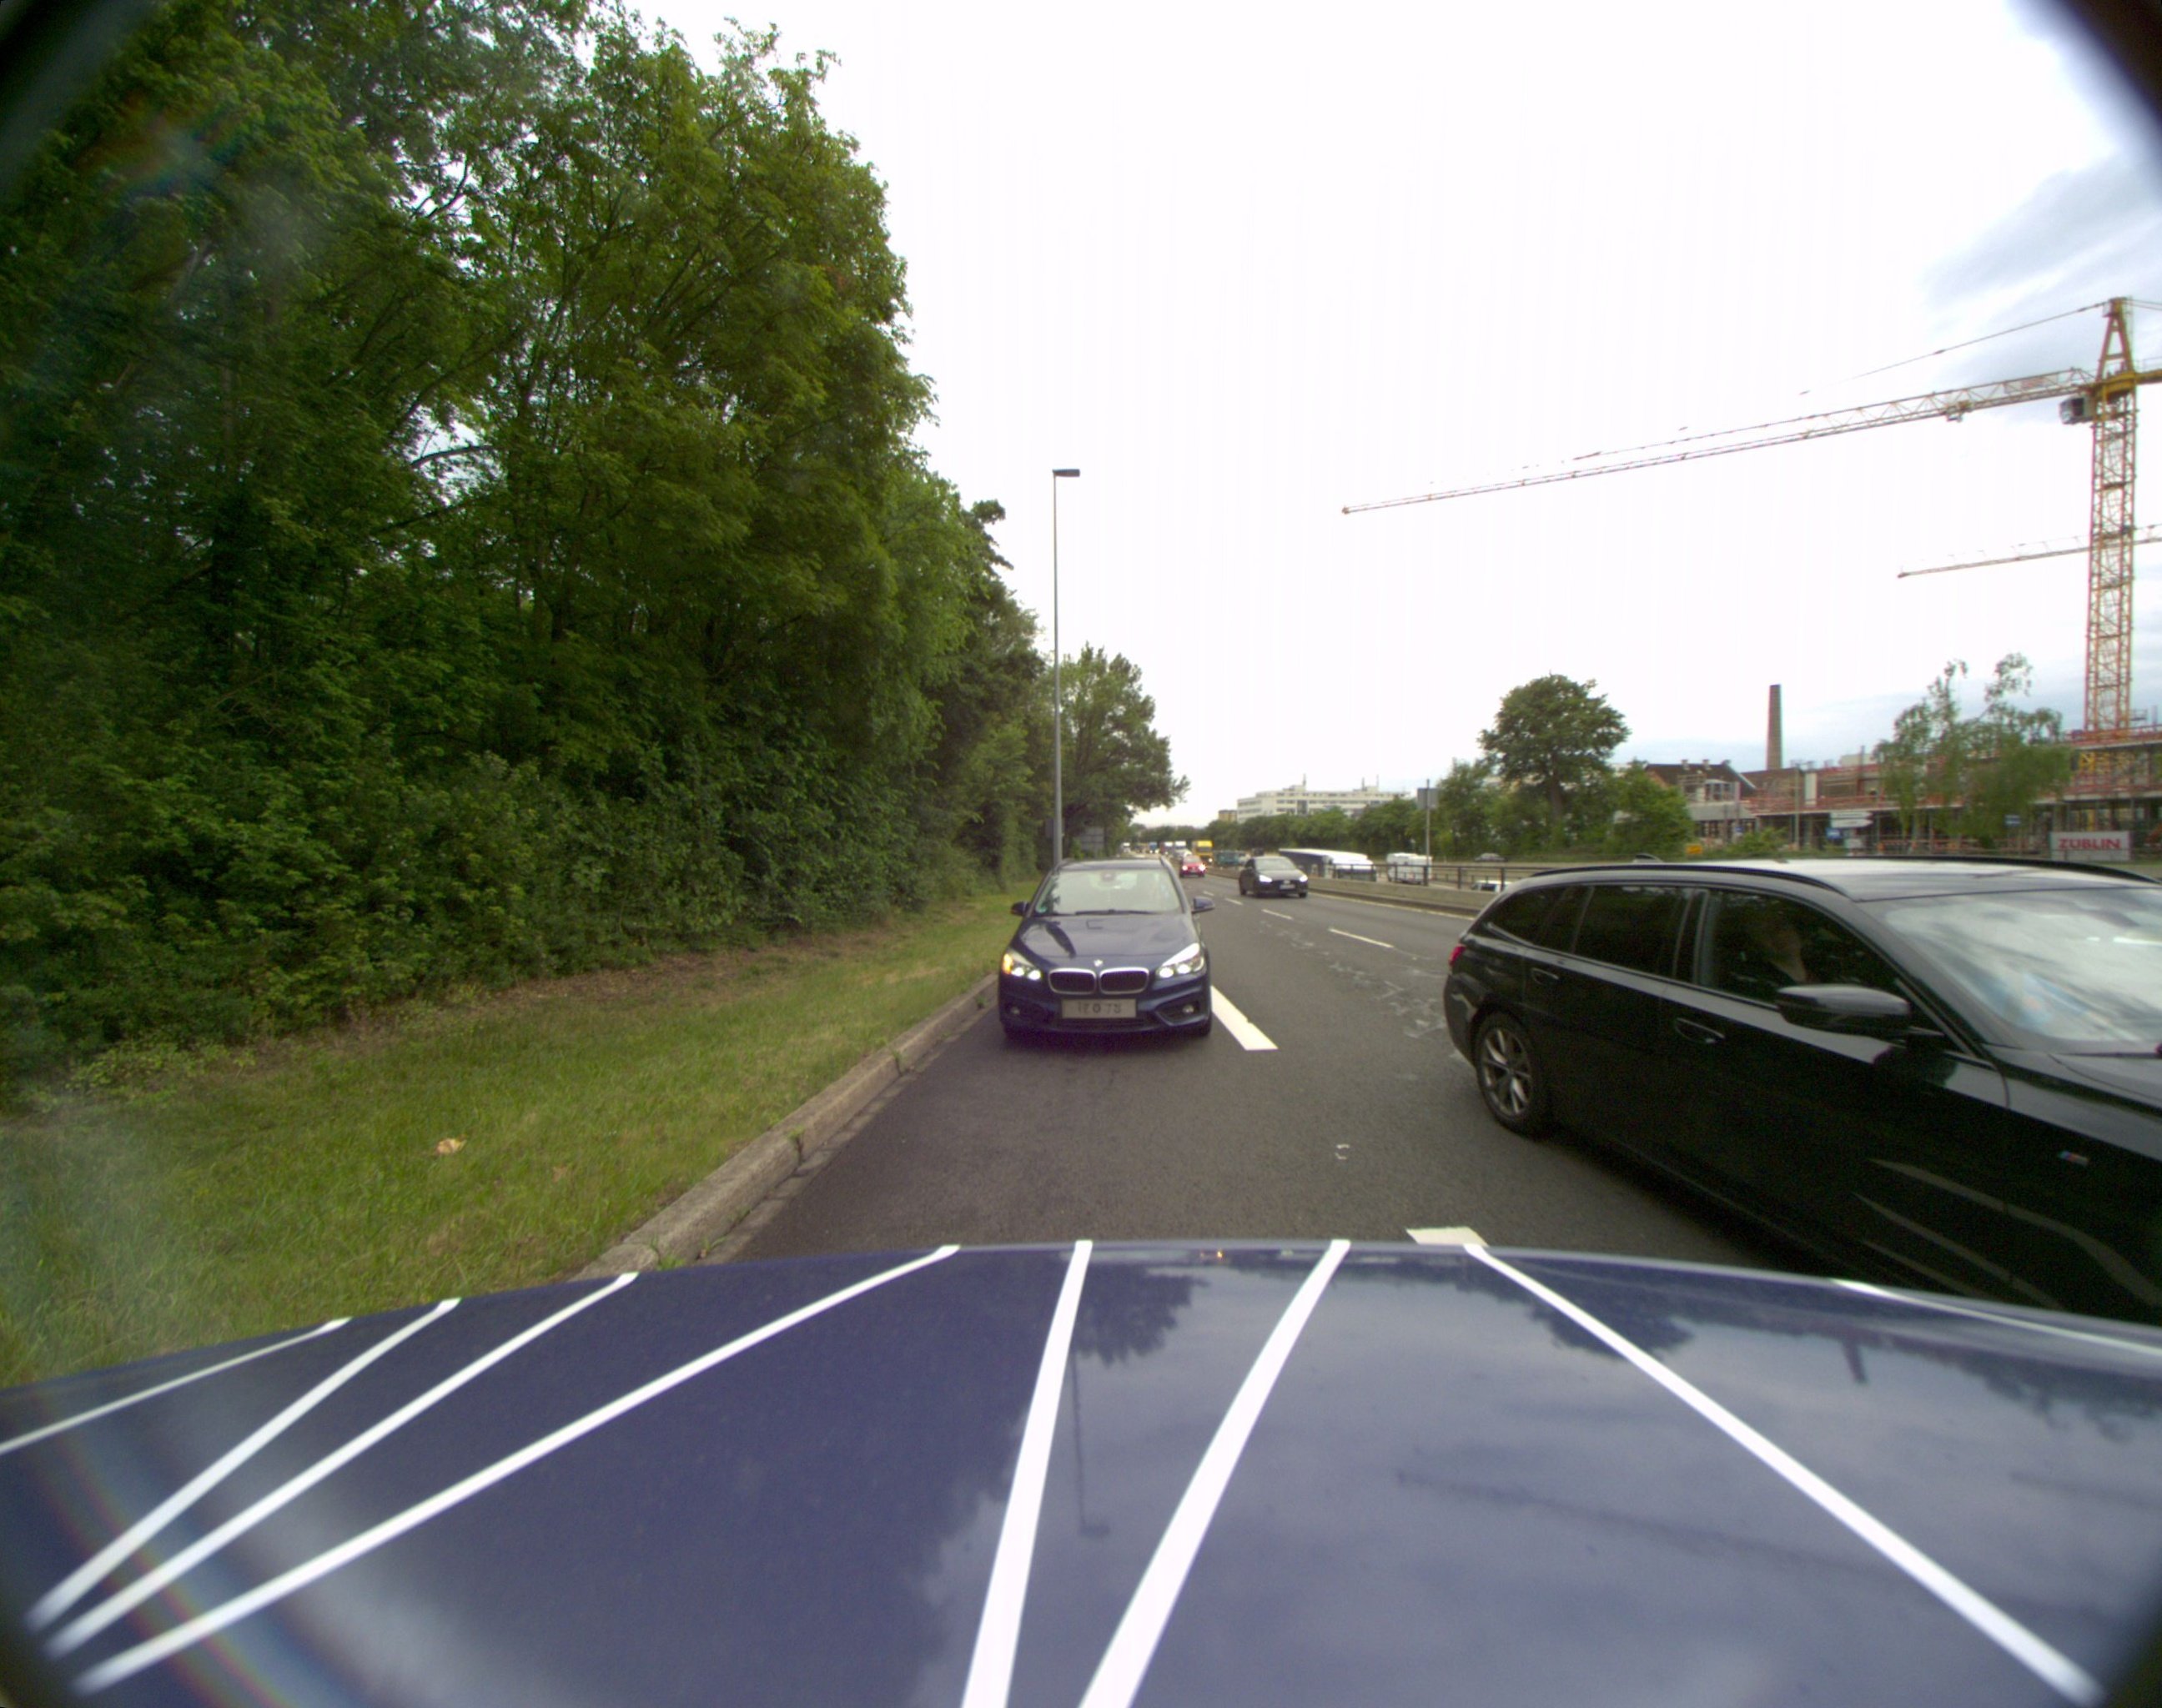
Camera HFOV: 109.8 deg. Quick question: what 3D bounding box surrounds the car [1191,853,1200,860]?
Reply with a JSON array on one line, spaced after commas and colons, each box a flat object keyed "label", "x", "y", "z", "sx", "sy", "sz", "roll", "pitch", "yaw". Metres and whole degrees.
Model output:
[{"label": "car", "x": 23.666, "y": 0.547, "z": 157.256, "sx": 1.627, "sy": 1.433, "sz": 4.001, "roll": -2, "pitch": 1, "yaw": 4}]

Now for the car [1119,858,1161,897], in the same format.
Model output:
[{"label": "car", "x": 2.503, "y": 0.949, "z": 32.293, "sx": 1.627, "sy": 1.433, "sz": 4.001, "roll": -2, "pitch": 1, "yaw": 4}]

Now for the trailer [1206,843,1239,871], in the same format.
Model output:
[{"label": "trailer", "x": 19.576, "y": 0.291, "z": 106.025, "sx": 2.613, "sy": 3.620, "sz": 16.752, "roll": 0, "pitch": 1, "yaw": 4}]

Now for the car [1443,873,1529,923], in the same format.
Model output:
[{"label": "car", "x": 27.531, "y": 2.882, "z": 52.012, "sx": 2.515, "sy": 3.011, "sz": 6.422, "roll": -1, "pitch": 0, "yaw": 1}]

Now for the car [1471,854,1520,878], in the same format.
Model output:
[{"label": "car", "x": 43.864, "y": 1.228, "z": 80.493, "sx": 2.341, "sy": 2.446, "sz": 5.227, "roll": -1, "pitch": 0, "yaw": 1}]

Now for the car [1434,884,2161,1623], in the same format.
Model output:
[{"label": "car", "x": 3.109, "y": 0.888, "z": 2.539, "sx": 1.753, "sy": 1.418, "sz": 4.461, "roll": -1, "pitch": -1, "yaw": 0}]

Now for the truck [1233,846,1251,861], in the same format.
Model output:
[{"label": "truck", "x": 43.546, "y": -0.228, "z": 205.992, "sx": 2.956, "sy": 4.013, "sz": 13.781, "roll": 0, "pitch": 1, "yaw": 4}]

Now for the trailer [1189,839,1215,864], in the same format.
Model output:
[{"label": "trailer", "x": 21.902, "y": -0.547, "z": 138.933, "sx": 2.897, "sy": 4.328, "sz": 19.925, "roll": 0, "pitch": 1, "yaw": 4}]

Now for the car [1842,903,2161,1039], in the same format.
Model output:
[{"label": "car", "x": 27.148, "y": 3.207, "z": 22.646, "sx": 2.515, "sy": 3.011, "sz": 6.422, "roll": -1, "pitch": 0, "yaw": 1}]

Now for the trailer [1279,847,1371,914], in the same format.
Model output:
[{"label": "trailer", "x": 16.831, "y": 1.552, "z": 53.780, "sx": 2.530, "sy": 4.013, "sz": 14.785, "roll": 0, "pitch": 1, "yaw": 3}]

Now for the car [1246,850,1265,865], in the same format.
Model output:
[{"label": "car", "x": 34.882, "y": 0.669, "z": 151.901, "sx": 2.514, "sy": 3.011, "sz": 7.514, "roll": -1, "pitch": 0, "yaw": 4}]

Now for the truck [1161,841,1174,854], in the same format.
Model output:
[{"label": "truck", "x": 27.586, "y": -1.969, "z": 242.898, "sx": 2.531, "sy": 4.013, "sz": 13.777, "roll": 0, "pitch": 1, "yaw": 1}]

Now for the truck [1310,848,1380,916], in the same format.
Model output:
[{"label": "truck", "x": 16.556, "y": 1.642, "z": 48.053, "sx": 2.530, "sy": 4.013, "sz": 6.097, "roll": 0, "pitch": 1, "yaw": 3}]

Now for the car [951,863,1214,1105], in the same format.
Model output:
[{"label": "car", "x": 0.219, "y": 0.948, "z": 7.488, "sx": 1.783, "sy": 1.554, "sz": 4.423, "roll": -2, "pitch": 1, "yaw": 6}]

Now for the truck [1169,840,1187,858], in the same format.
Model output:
[{"label": "truck", "x": 16.866, "y": -0.884, "z": 132.469, "sx": 2.524, "sy": 2.961, "sz": 13.781, "roll": 0, "pitch": 1, "yaw": 4}]

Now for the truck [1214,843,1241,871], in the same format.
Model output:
[{"label": "truck", "x": 19.052, "y": 0.349, "z": 98.909, "sx": 2.644, "sy": 3.614, "sz": 6.669, "roll": 0, "pitch": 1, "yaw": 4}]

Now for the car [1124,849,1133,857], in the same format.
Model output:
[{"label": "car", "x": 12.353, "y": -0.221, "z": 198.460, "sx": 1.998, "sy": 2.002, "sz": 4.000, "roll": -1, "pitch": 0, "yaw": 1}]

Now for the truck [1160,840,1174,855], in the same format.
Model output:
[{"label": "truck", "x": 19.388, "y": -1.448, "z": 171.464, "sx": 2.955, "sy": 3.167, "sz": 13.783, "roll": 0, "pitch": 1, "yaw": 6}]

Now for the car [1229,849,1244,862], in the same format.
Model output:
[{"label": "car", "x": 38.283, "y": 0.302, "z": 186.999, "sx": 2.514, "sy": 3.011, "sz": 7.514, "roll": -1, "pitch": 0, "yaw": 4}]

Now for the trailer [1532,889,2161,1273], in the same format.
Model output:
[{"label": "trailer", "x": 14.911, "y": 3.162, "z": 15.690, "sx": 2.658, "sy": 4.013, "sz": 14.553, "roll": 0, "pitch": 1, "yaw": 1}]

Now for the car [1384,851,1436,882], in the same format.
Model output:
[{"label": "car", "x": 33.857, "y": 1.250, "z": 78.579, "sx": 2.514, "sy": 3.011, "sz": 7.514, "roll": -1, "pitch": 0, "yaw": 4}]

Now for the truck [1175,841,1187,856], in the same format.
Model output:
[{"label": "truck", "x": 26.304, "y": -1.504, "z": 200.353, "sx": 2.955, "sy": 4.013, "sz": 13.783, "roll": 0, "pitch": 1, "yaw": 6}]

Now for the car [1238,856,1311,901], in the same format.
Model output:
[{"label": "car", "x": 6.955, "y": 0.827, "z": 27.712, "sx": 1.702, "sy": 1.433, "sz": 4.000, "roll": -2, "pitch": 1, "yaw": 2}]

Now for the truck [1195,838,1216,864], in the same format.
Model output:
[{"label": "truck", "x": 21.282, "y": -0.470, "z": 130.201, "sx": 2.892, "sy": 4.319, "sz": 6.520, "roll": 0, "pitch": 1, "yaw": 4}]

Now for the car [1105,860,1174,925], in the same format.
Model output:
[{"label": "car", "x": 1.552, "y": 0.943, "z": 20.326, "sx": 1.627, "sy": 1.433, "sz": 4.001, "roll": -2, "pitch": 1, "yaw": 4}]

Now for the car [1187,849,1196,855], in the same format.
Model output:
[{"label": "car", "x": 32.232, "y": -0.588, "z": 221.337, "sx": 1.998, "sy": 1.543, "sz": 4.000, "roll": -2, "pitch": 1, "yaw": 1}]

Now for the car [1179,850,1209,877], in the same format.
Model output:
[{"label": "car", "x": 8.238, "y": 0.720, "z": 55.819, "sx": 1.768, "sy": 1.785, "sz": 4.581, "roll": 2, "pitch": -3, "yaw": 4}]

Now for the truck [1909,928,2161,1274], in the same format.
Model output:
[{"label": "truck", "x": 14.874, "y": 3.253, "z": 9.275, "sx": 2.712, "sy": 4.013, "sz": 6.202, "roll": 0, "pitch": 1, "yaw": 0}]
